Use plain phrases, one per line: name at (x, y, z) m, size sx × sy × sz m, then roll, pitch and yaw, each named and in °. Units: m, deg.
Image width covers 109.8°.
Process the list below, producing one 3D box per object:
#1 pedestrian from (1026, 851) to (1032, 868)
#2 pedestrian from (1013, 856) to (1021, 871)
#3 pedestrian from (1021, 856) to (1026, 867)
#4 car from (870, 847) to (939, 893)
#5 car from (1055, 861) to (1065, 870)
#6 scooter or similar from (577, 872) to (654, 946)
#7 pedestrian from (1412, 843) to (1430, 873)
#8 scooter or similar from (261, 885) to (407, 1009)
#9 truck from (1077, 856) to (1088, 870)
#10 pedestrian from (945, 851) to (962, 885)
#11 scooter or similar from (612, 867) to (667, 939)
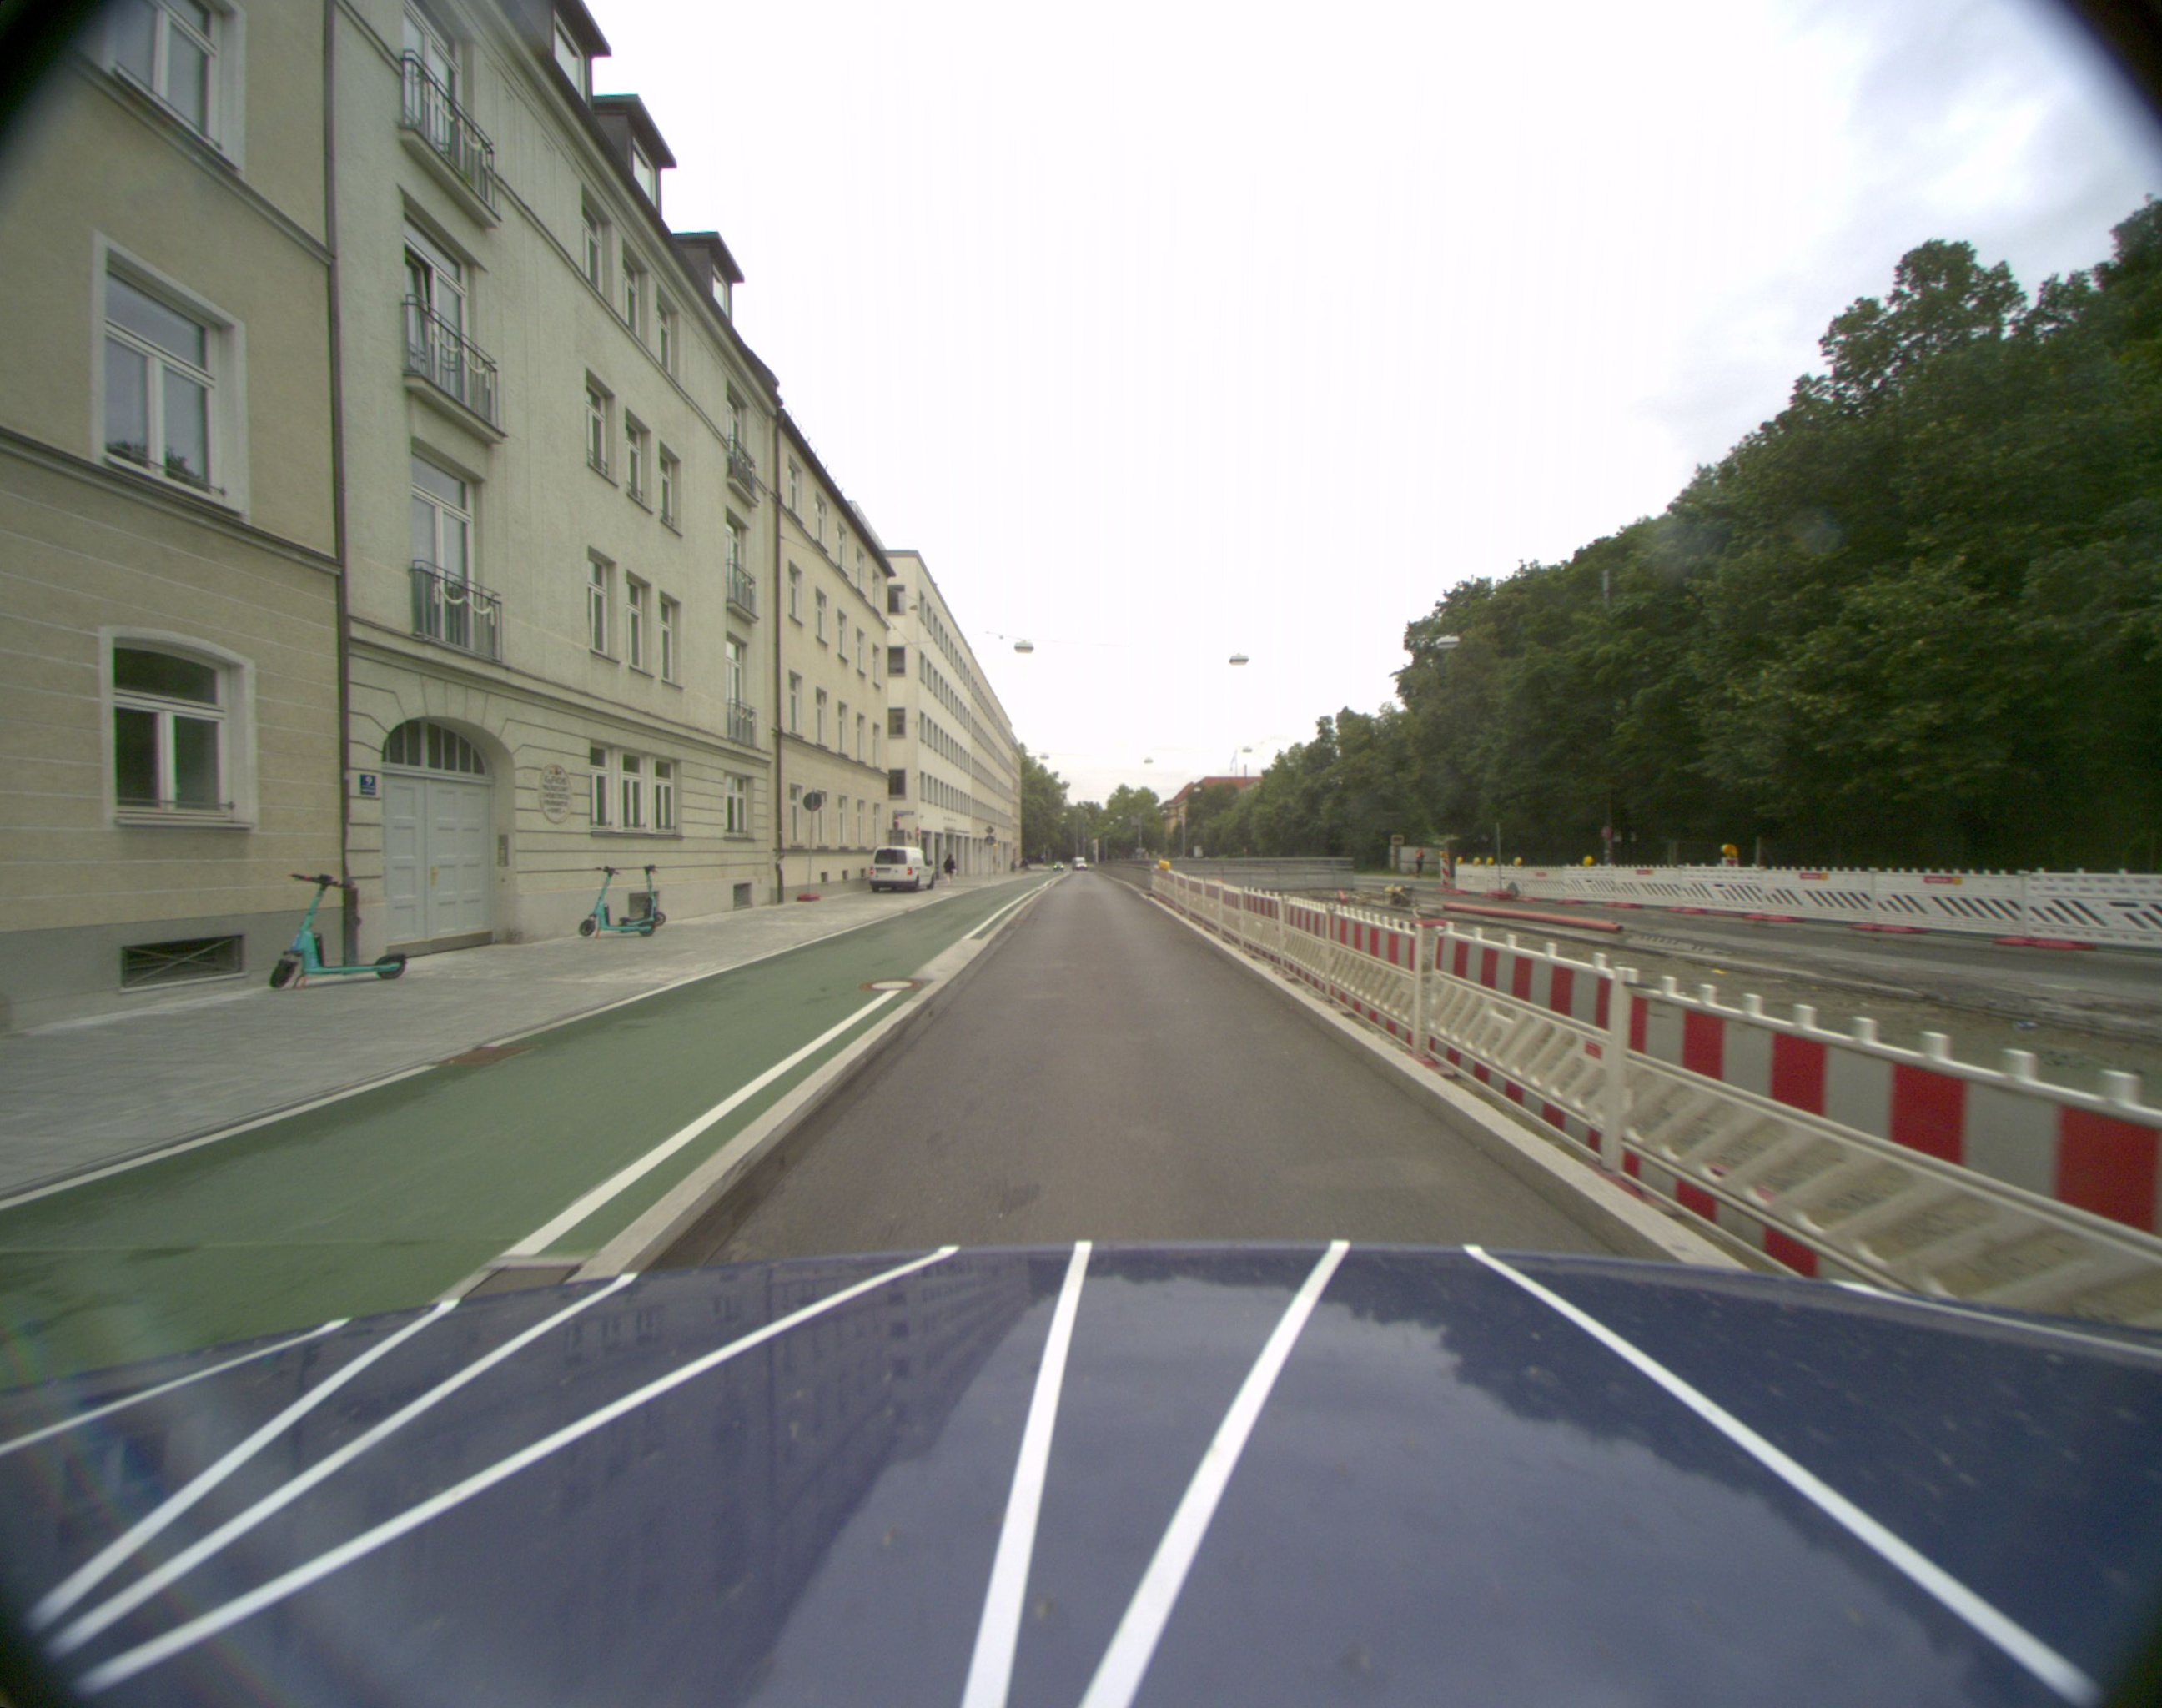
pedestrian at (-5.952, 0.616, 86.824) m, size 0.514 × 1.825 × 0.602 m, roll 3°, pitch 1°, yaw 0°
pedestrian at (-7.492, 1.105, 88.881) m, size 0.754 × 1.610 × 0.704 m, roll 3°, pitch 1°, yaw 0°
pedestrian at (-6.586, 0.829, 86.925) m, size 0.368 × 1.239 × 0.470 m, roll 3°, pitch 1°, yaw 0°
car at (-7.107, 0.583, 31.012) m, size 1.738 × 1.740 × 4.435 m, roll 0°, pitch 0°, yaw 0°
car at (-4.354, 2.463, 158.366) m, size 1.999 × 1.738 × 3.999 m, roll -1°, pitch 0°, yaw -1°
scooter or similar at (-8.053, 0.935, 13.165) m, size 1.121 × 1.224 × 0.246 m, roll 0°, pitch 2°, yaw -33°
pedestrian at (18.488, 0.205, 41.306) m, size 0.665 × 1.631 × 0.698 m, roll -1°, pitch 1°, yaw 1°
scooter or similar at (-8.198, 0.978, 8.383) m, size 0.246 × 1.224 × 1.121 m, roll 2°, pitch 2°, yaw 26°
truck at (0.224, 1.763, 146.958) m, size 2.058 × 2.625 × 4.411 m, roll -1°, pitch 0°, yaw -1°
pedestrian at (-6.120, 0.652, 36.530) m, size 0.666 × 1.626 × 0.737 m, roll 0°, pitch 1°, yaw 0°
scooter or similar at (-8.322, 0.895, 14.366) m, size 0.387 × 1.265 × 1.119 m, roll 1°, pitch 1°, yaw 0°
